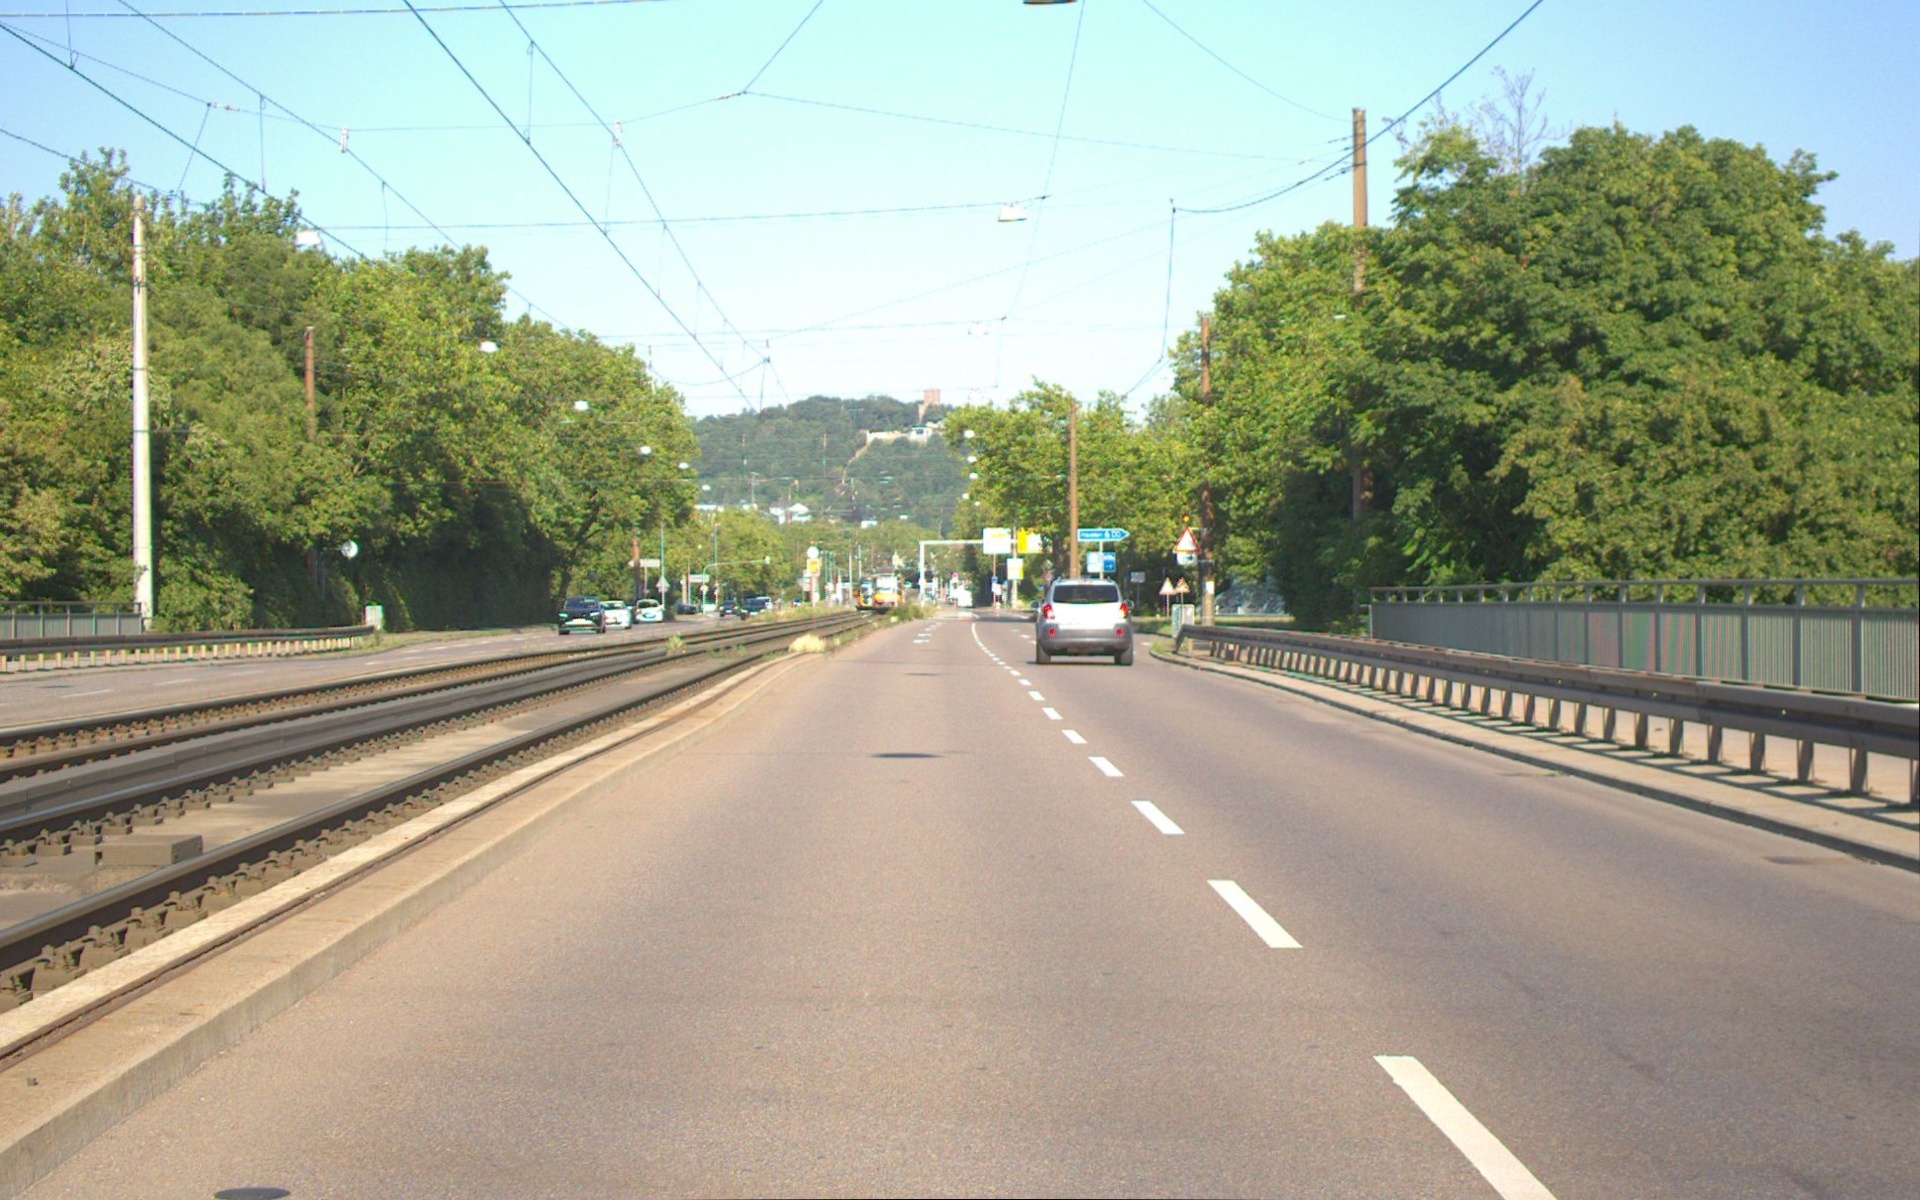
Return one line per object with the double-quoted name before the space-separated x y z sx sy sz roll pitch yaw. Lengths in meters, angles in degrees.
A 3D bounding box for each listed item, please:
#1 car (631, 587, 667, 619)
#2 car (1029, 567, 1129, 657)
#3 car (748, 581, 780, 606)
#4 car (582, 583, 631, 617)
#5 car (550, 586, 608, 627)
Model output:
"car" -20.594 0.183 227.807 1.987 2.050 3.946 2 0 0
"car" 2.338 0.210 67.584 1.888 1.688 4.256 0 0 2
"car" -13.351 -0.464 234.572 1.993 1.612 4.000 2 1 -1
"car" -17.573 -0.001 170.969 1.993 1.612 4.000 2 1 -1
"car" -16.254 0.263 146.812 1.993 1.612 4.000 2 1 -1
